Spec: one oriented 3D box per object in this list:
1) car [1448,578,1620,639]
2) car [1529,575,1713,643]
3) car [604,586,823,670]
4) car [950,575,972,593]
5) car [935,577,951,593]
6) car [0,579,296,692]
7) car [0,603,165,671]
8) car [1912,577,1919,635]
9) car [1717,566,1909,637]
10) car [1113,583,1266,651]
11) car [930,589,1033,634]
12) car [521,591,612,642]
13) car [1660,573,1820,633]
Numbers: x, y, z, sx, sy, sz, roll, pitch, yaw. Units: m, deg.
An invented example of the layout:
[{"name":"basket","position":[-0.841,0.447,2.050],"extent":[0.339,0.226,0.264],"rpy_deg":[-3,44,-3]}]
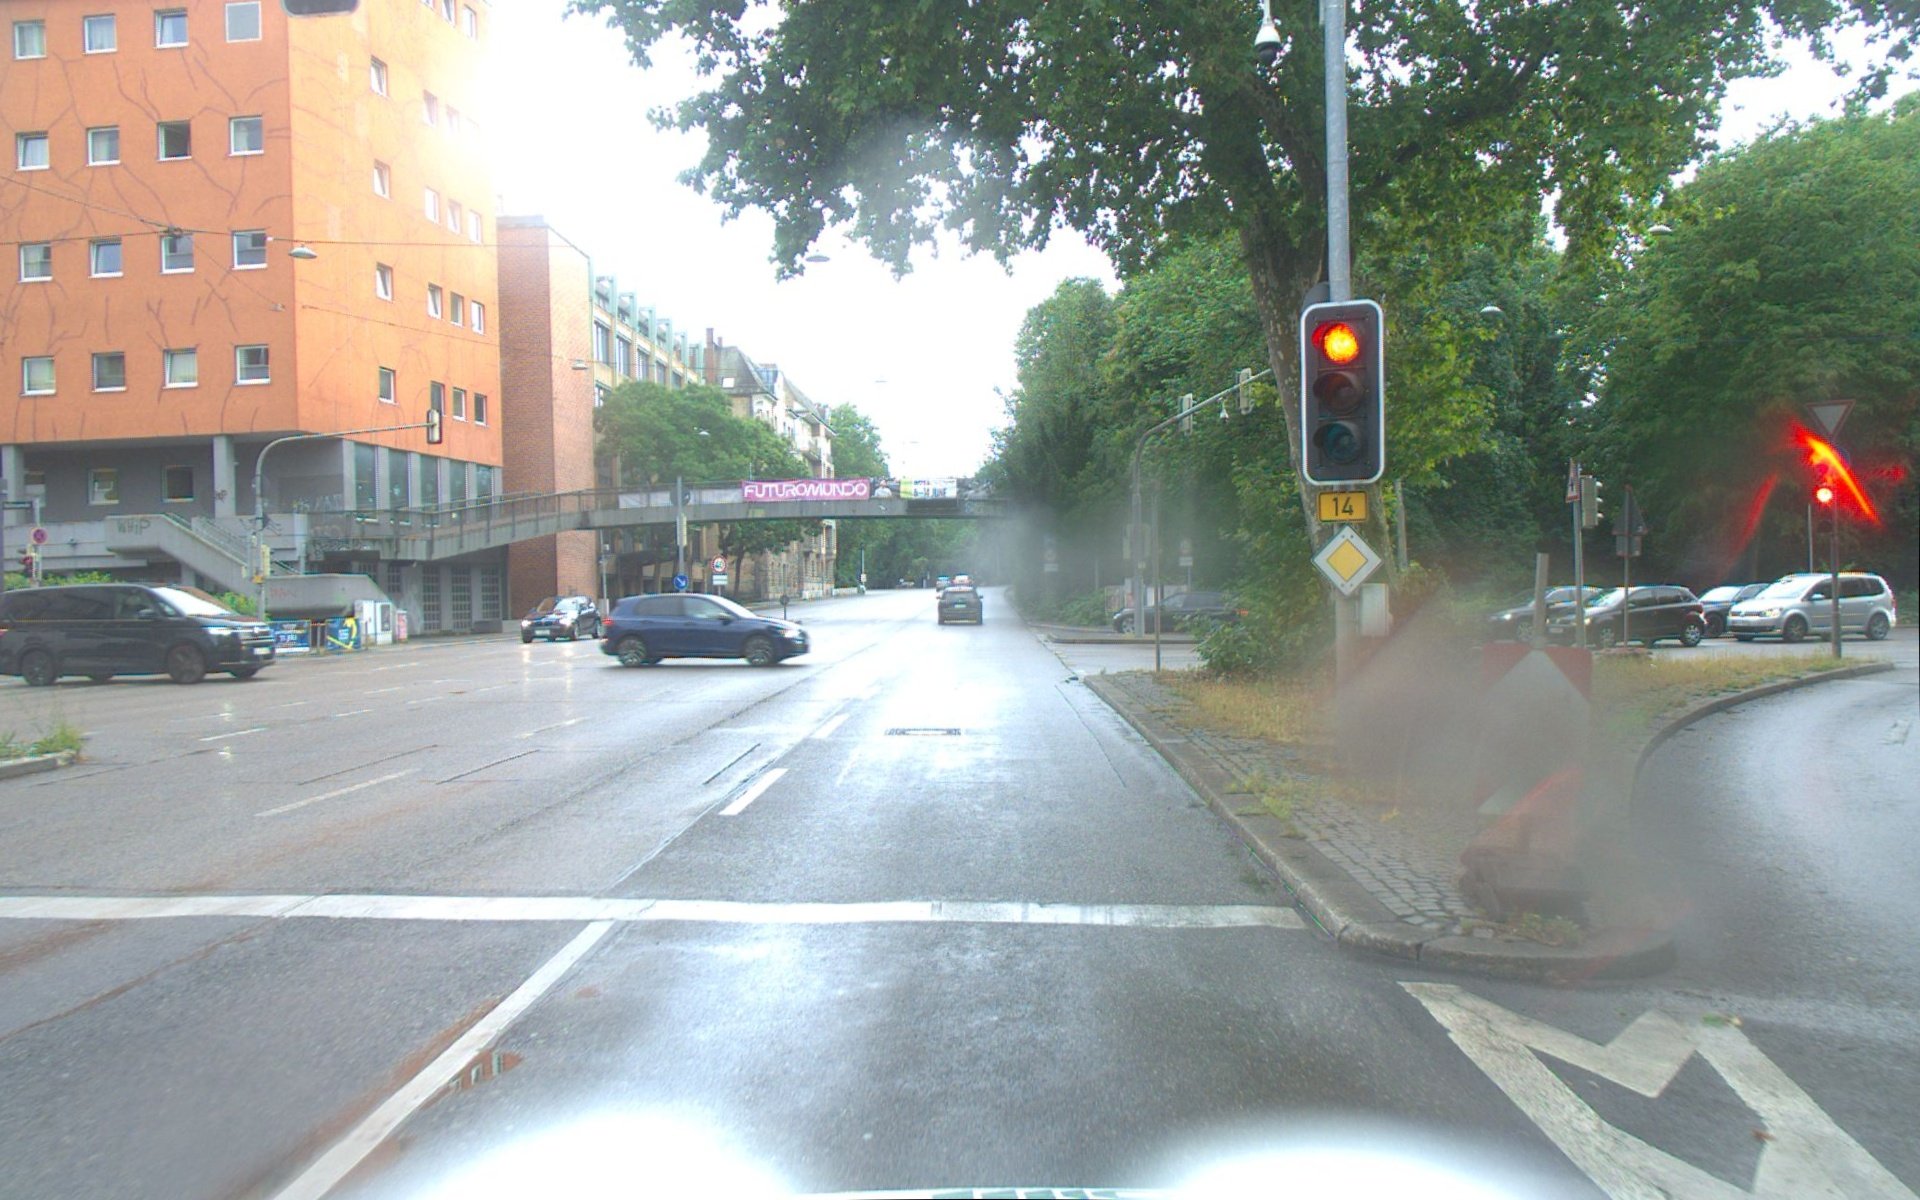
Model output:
[{"name":"car","position":[14.814,0.210,42.725],"extent":[3.928,1.512,1.868],"rpy_deg":[-1,0,-20]},{"name":"car","position":[15.558,0.198,38.975],"extent":[3.790,1.511,1.666],"rpy_deg":[-1,-1,-15]},{"name":"car","position":[-4.982,0.554,33.603],"extent":[4.047,1.471,1.587],"rpy_deg":[-3,0,9]},{"name":"car","position":[0.078,-1.662,171.956],"extent":[2.078,1.765,4.197],"rpy_deg":[0,1,-3]},{"name":"car","position":[-1.941,-1.731,189.333],"extent":[1.727,1.726,3.705],"rpy_deg":[-3,0,0]},{"name":"car","position":[-15.442,0.661,31.343],"extent":[4.967,1.878,2.002],"rpy_deg":[-3,0,11]},{"name":"car","position":[-21.523,0.885,39.115],"extent":[4.516,1.477,1.771],"rpy_deg":[-2,0,-8]},{"name":"car","position":[27.209,0.055,43.380],"extent":[3.929,1.512,1.764],"rpy_deg":[-3,0,-20]},{"name":"car","position":[21.200,0.042,41.135],"extent":[4.193,1.512,1.765],"rpy_deg":[-3,0,-18]},{"name":"car","position":[7.177,0.537,51.751],"extent":[4.251,1.868,2.135],"rpy_deg":[-3,0,24]},{"name":"car","position":[0.771,0.406,63.159],"extent":[1.857,1.666,4.476],"rpy_deg":[-1,1,-32]},{"name":"car","position":[-12.675,0.505,53.497],"extent":[1.953,1.545,4.000],"rpy_deg":[-1,0,0]},{"name":"car","position":[20.888,0.066,44.302],"extent":[3.767,1.512,1.735],"rpy_deg":[-1,0,-20]}]
